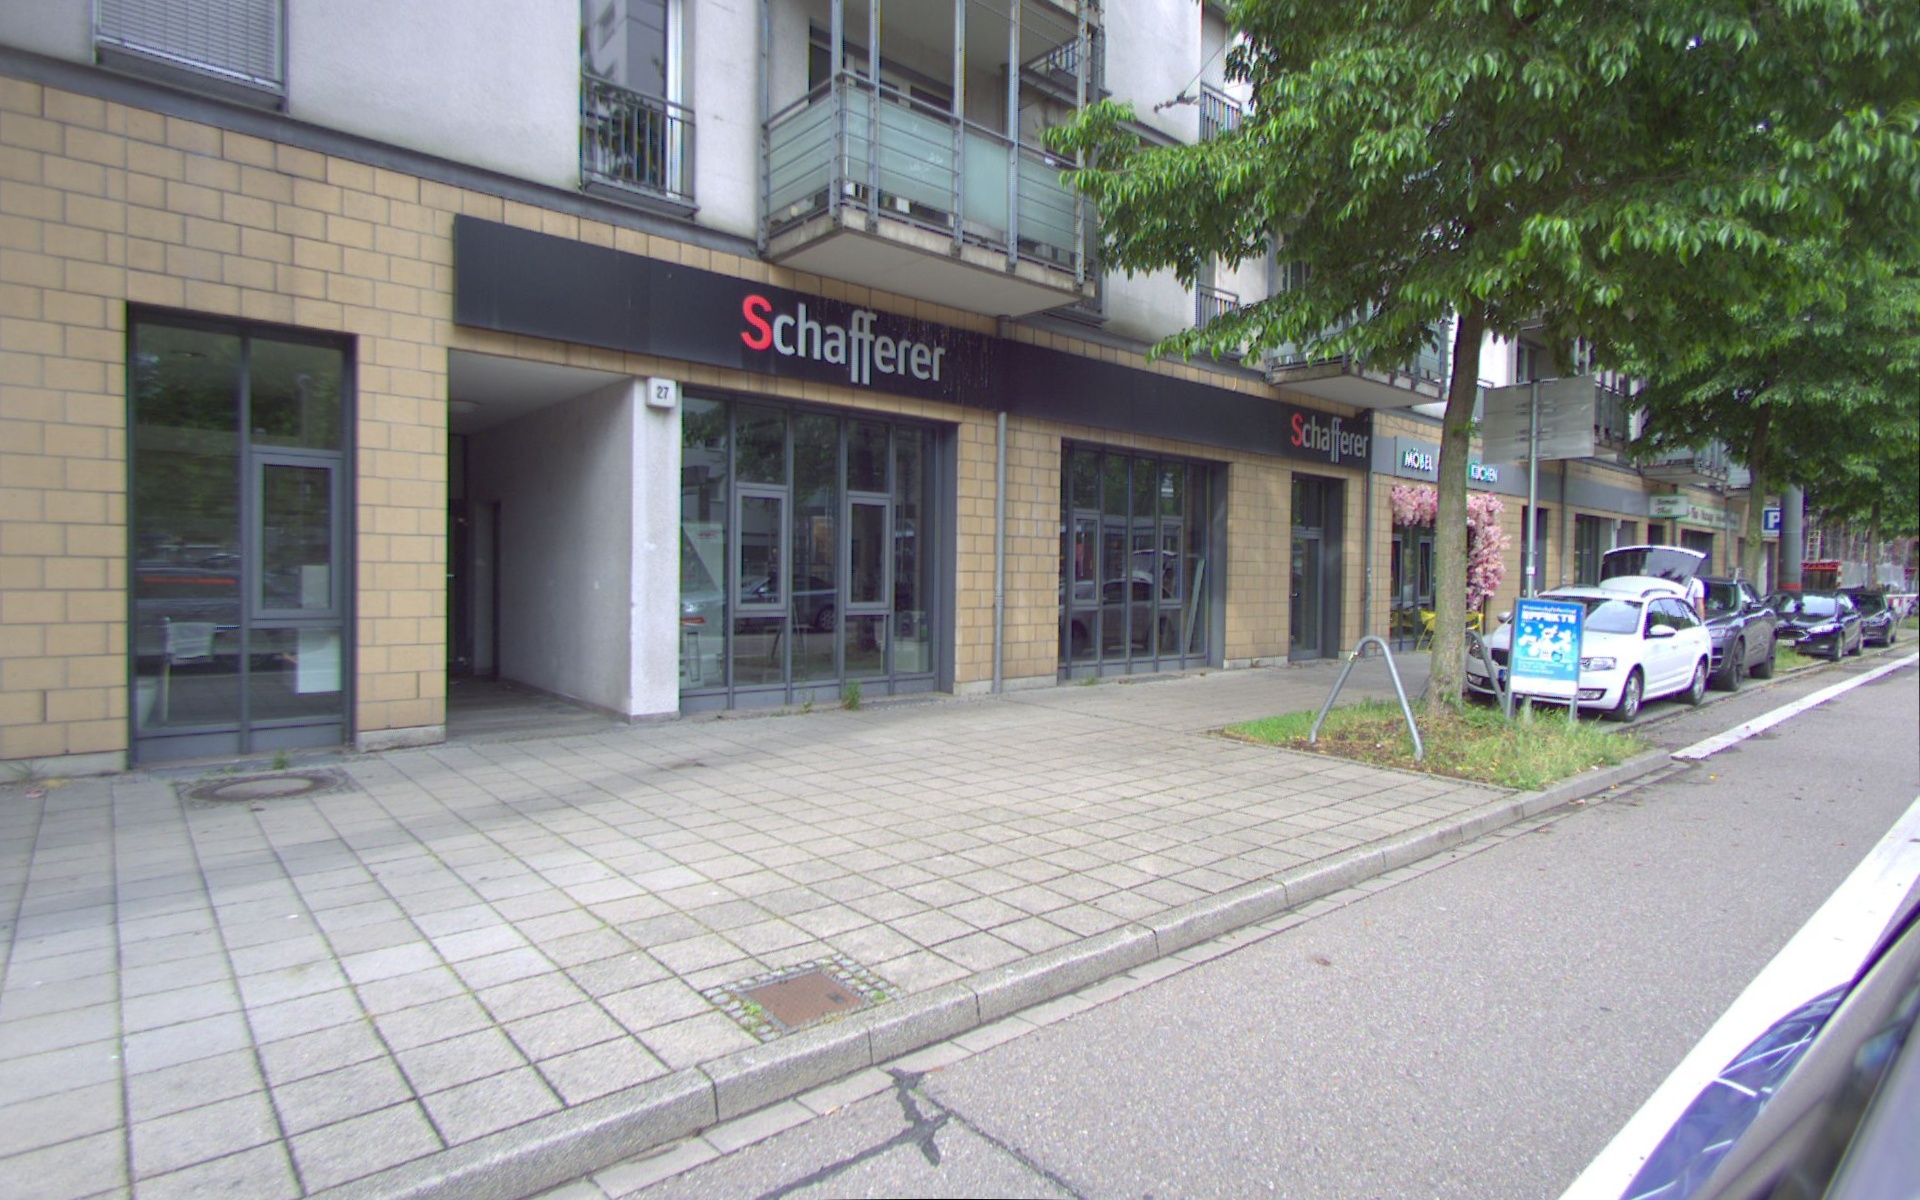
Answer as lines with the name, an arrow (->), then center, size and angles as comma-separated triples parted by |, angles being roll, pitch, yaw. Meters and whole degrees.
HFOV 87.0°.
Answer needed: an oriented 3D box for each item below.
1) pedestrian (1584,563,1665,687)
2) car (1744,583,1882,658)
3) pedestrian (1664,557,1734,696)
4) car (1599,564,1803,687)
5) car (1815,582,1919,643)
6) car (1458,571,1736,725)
pedestrian -> 9.744, 0.349, 14.853 | 0.606, 1.737, 0.739 | 0, 3, -34
car -> 18.633, 0.384, 22.047 | 4.095, 1.394, 1.612 | -1, 5, -41
pedestrian -> 10.416, 0.352, 14.269 | 0.588, 1.907, 0.656 | 0, 1, -41
car -> 11.793, 0.316, 16.030 | 3.732, 1.630, 1.738 | -1, 5, -41
car -> 24.154, 0.285, 26.873 | 3.603, 1.417, 1.612 | -1, 5, -41
car -> 8.121, 0.472, 12.757 | 4.233, 1.539, 1.738 | -1, 5, -41
